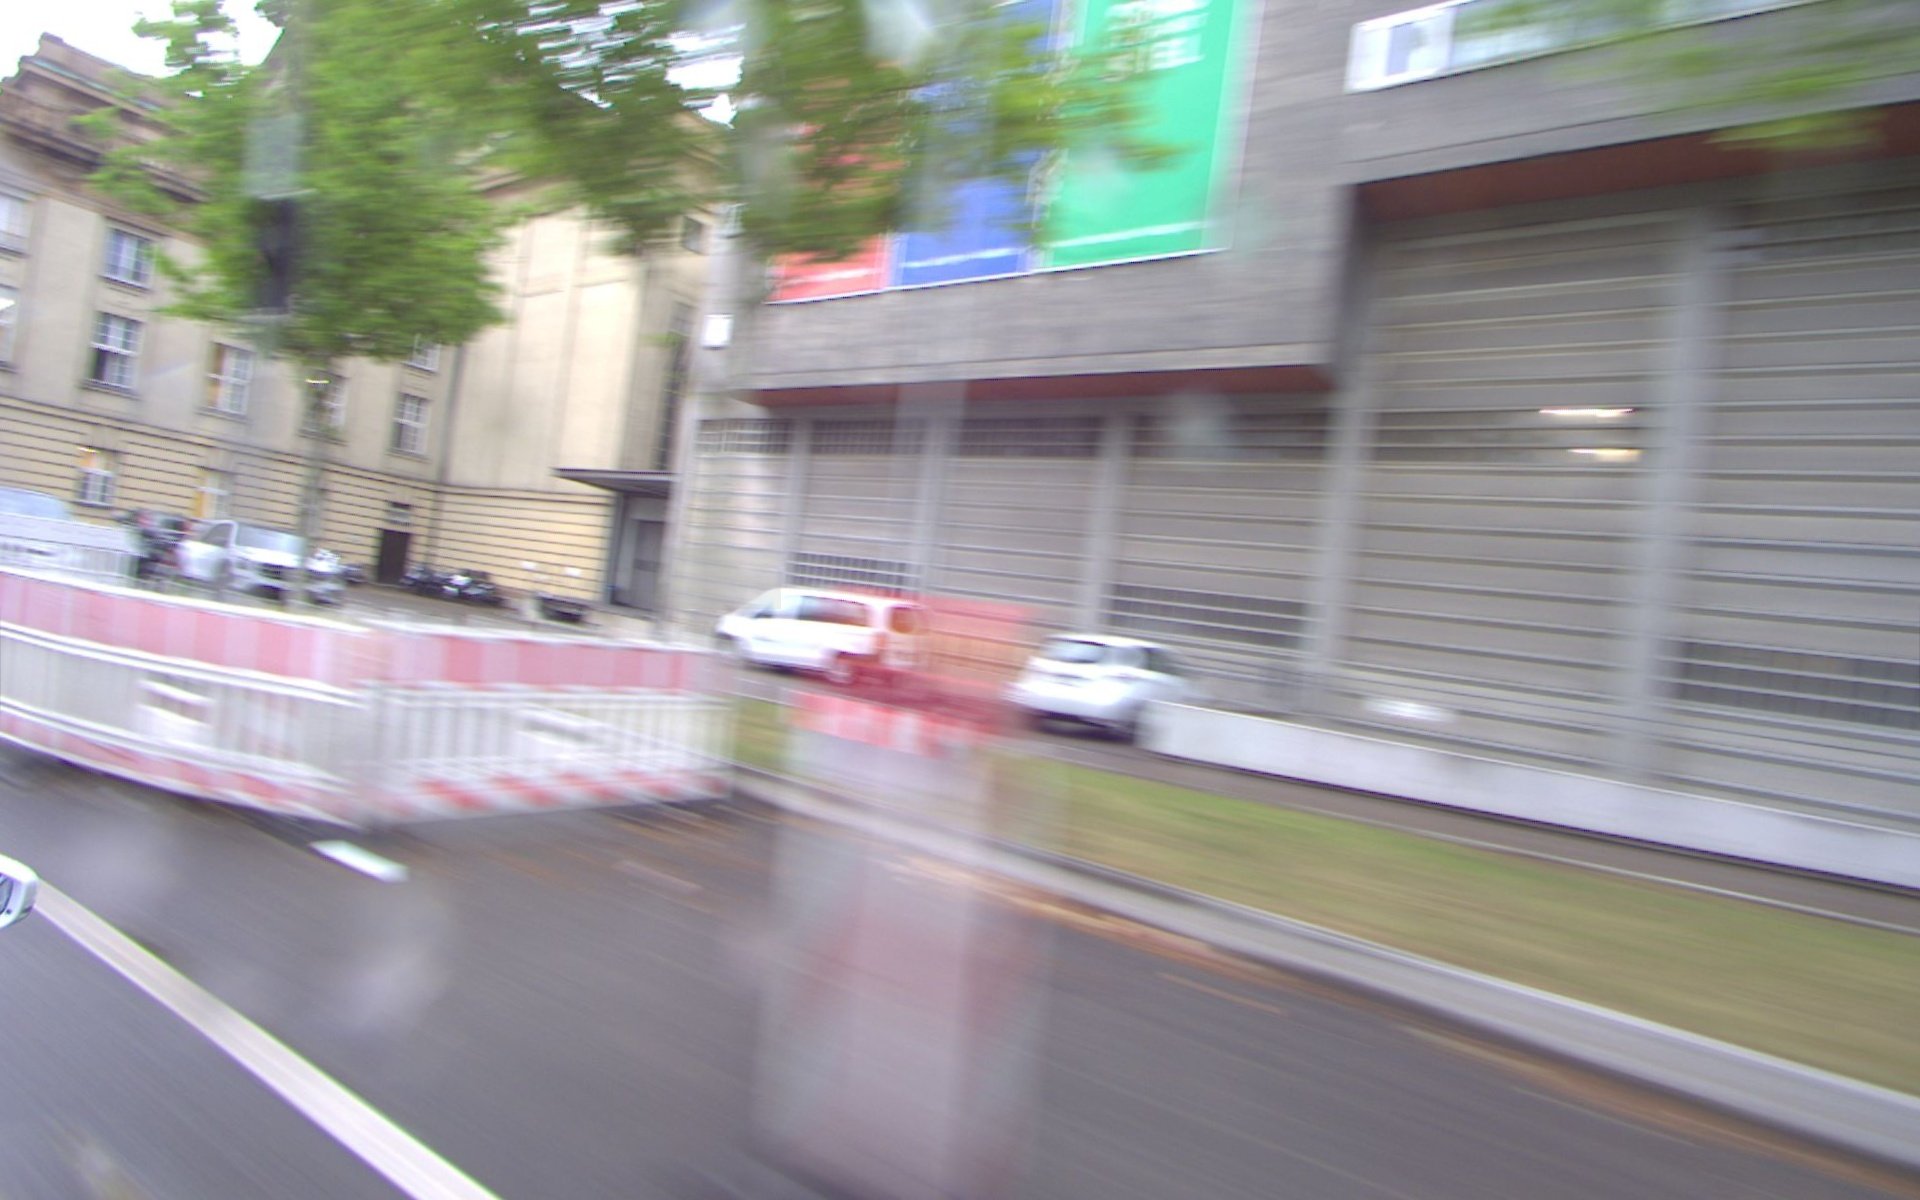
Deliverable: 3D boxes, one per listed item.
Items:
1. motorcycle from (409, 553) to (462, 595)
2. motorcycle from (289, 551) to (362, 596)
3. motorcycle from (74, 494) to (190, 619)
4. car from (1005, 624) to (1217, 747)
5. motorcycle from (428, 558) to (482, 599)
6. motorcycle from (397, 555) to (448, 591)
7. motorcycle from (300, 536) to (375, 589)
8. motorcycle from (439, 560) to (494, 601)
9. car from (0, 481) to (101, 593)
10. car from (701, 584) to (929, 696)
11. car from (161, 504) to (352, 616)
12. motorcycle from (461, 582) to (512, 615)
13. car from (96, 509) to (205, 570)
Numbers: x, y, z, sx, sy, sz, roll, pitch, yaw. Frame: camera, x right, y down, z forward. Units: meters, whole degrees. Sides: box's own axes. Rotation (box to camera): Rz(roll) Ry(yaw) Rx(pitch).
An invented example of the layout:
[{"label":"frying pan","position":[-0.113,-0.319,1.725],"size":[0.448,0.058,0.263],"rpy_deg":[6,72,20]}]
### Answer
[{"label":"motorcycle","position":[-21.584,-1.078,41.391],"size":[0.724,1.491,1.660],"rpy_deg":[6,-1,40]},{"label":"motorcycle","position":[-23.502,-0.975,37.284],"size":[0.837,1.209,1.976],"rpy_deg":[7,-6,37]},{"label":"motorcycle","position":[-14.339,-0.778,17.383],"size":[2.550,1.927,0.749],"rpy_deg":[6,-1,35]},{"label":"car","position":[2.583,1.414,16.443],"size":[1.751,1.598,3.840],"rpy_deg":[6,-2,35]},{"label":"motorcycle","position":[-20.460,-0.877,40.785],"size":[0.724,1.423,1.660],"rpy_deg":[6,-1,40]},{"label":"motorcycle","position":[-22.744,-1.135,42.568],"size":[0.724,1.355,1.659],"rpy_deg":[6,0,40]},{"label":"motorcycle","position":[-22.640,-1.362,36.639],"size":[0.837,1.562,1.973],"rpy_deg":[8,-2,37]},{"label":"motorcycle","position":[-19.519,-0.769,39.806],"size":[0.724,1.383,1.660],"rpy_deg":[6,-1,40]},{"label":"car","position":[-15.343,-1.074,16.243],"size":[2.977,1.555,1.581],"rpy_deg":[6,-2,38]},{"label":"car","position":[-3.219,0.829,21.884],"size":[4.806,1.809,1.775],"rpy_deg":[6,-1,34]},{"label":"car","position":[-13.683,-0.815,19.459],"size":[4.430,1.704,1.952],"rpy_deg":[6,-1,42]},{"label":"motorcycle","position":[-18.605,-0.040,39.555],"size":[0.473,1.082,1.660],"rpy_deg":[7,-1,40]},{"label":"car","position":[-27.795,-2.085,34.499],"size":[4.439,1.558,1.819],"rpy_deg":[7,-1,37]}]
